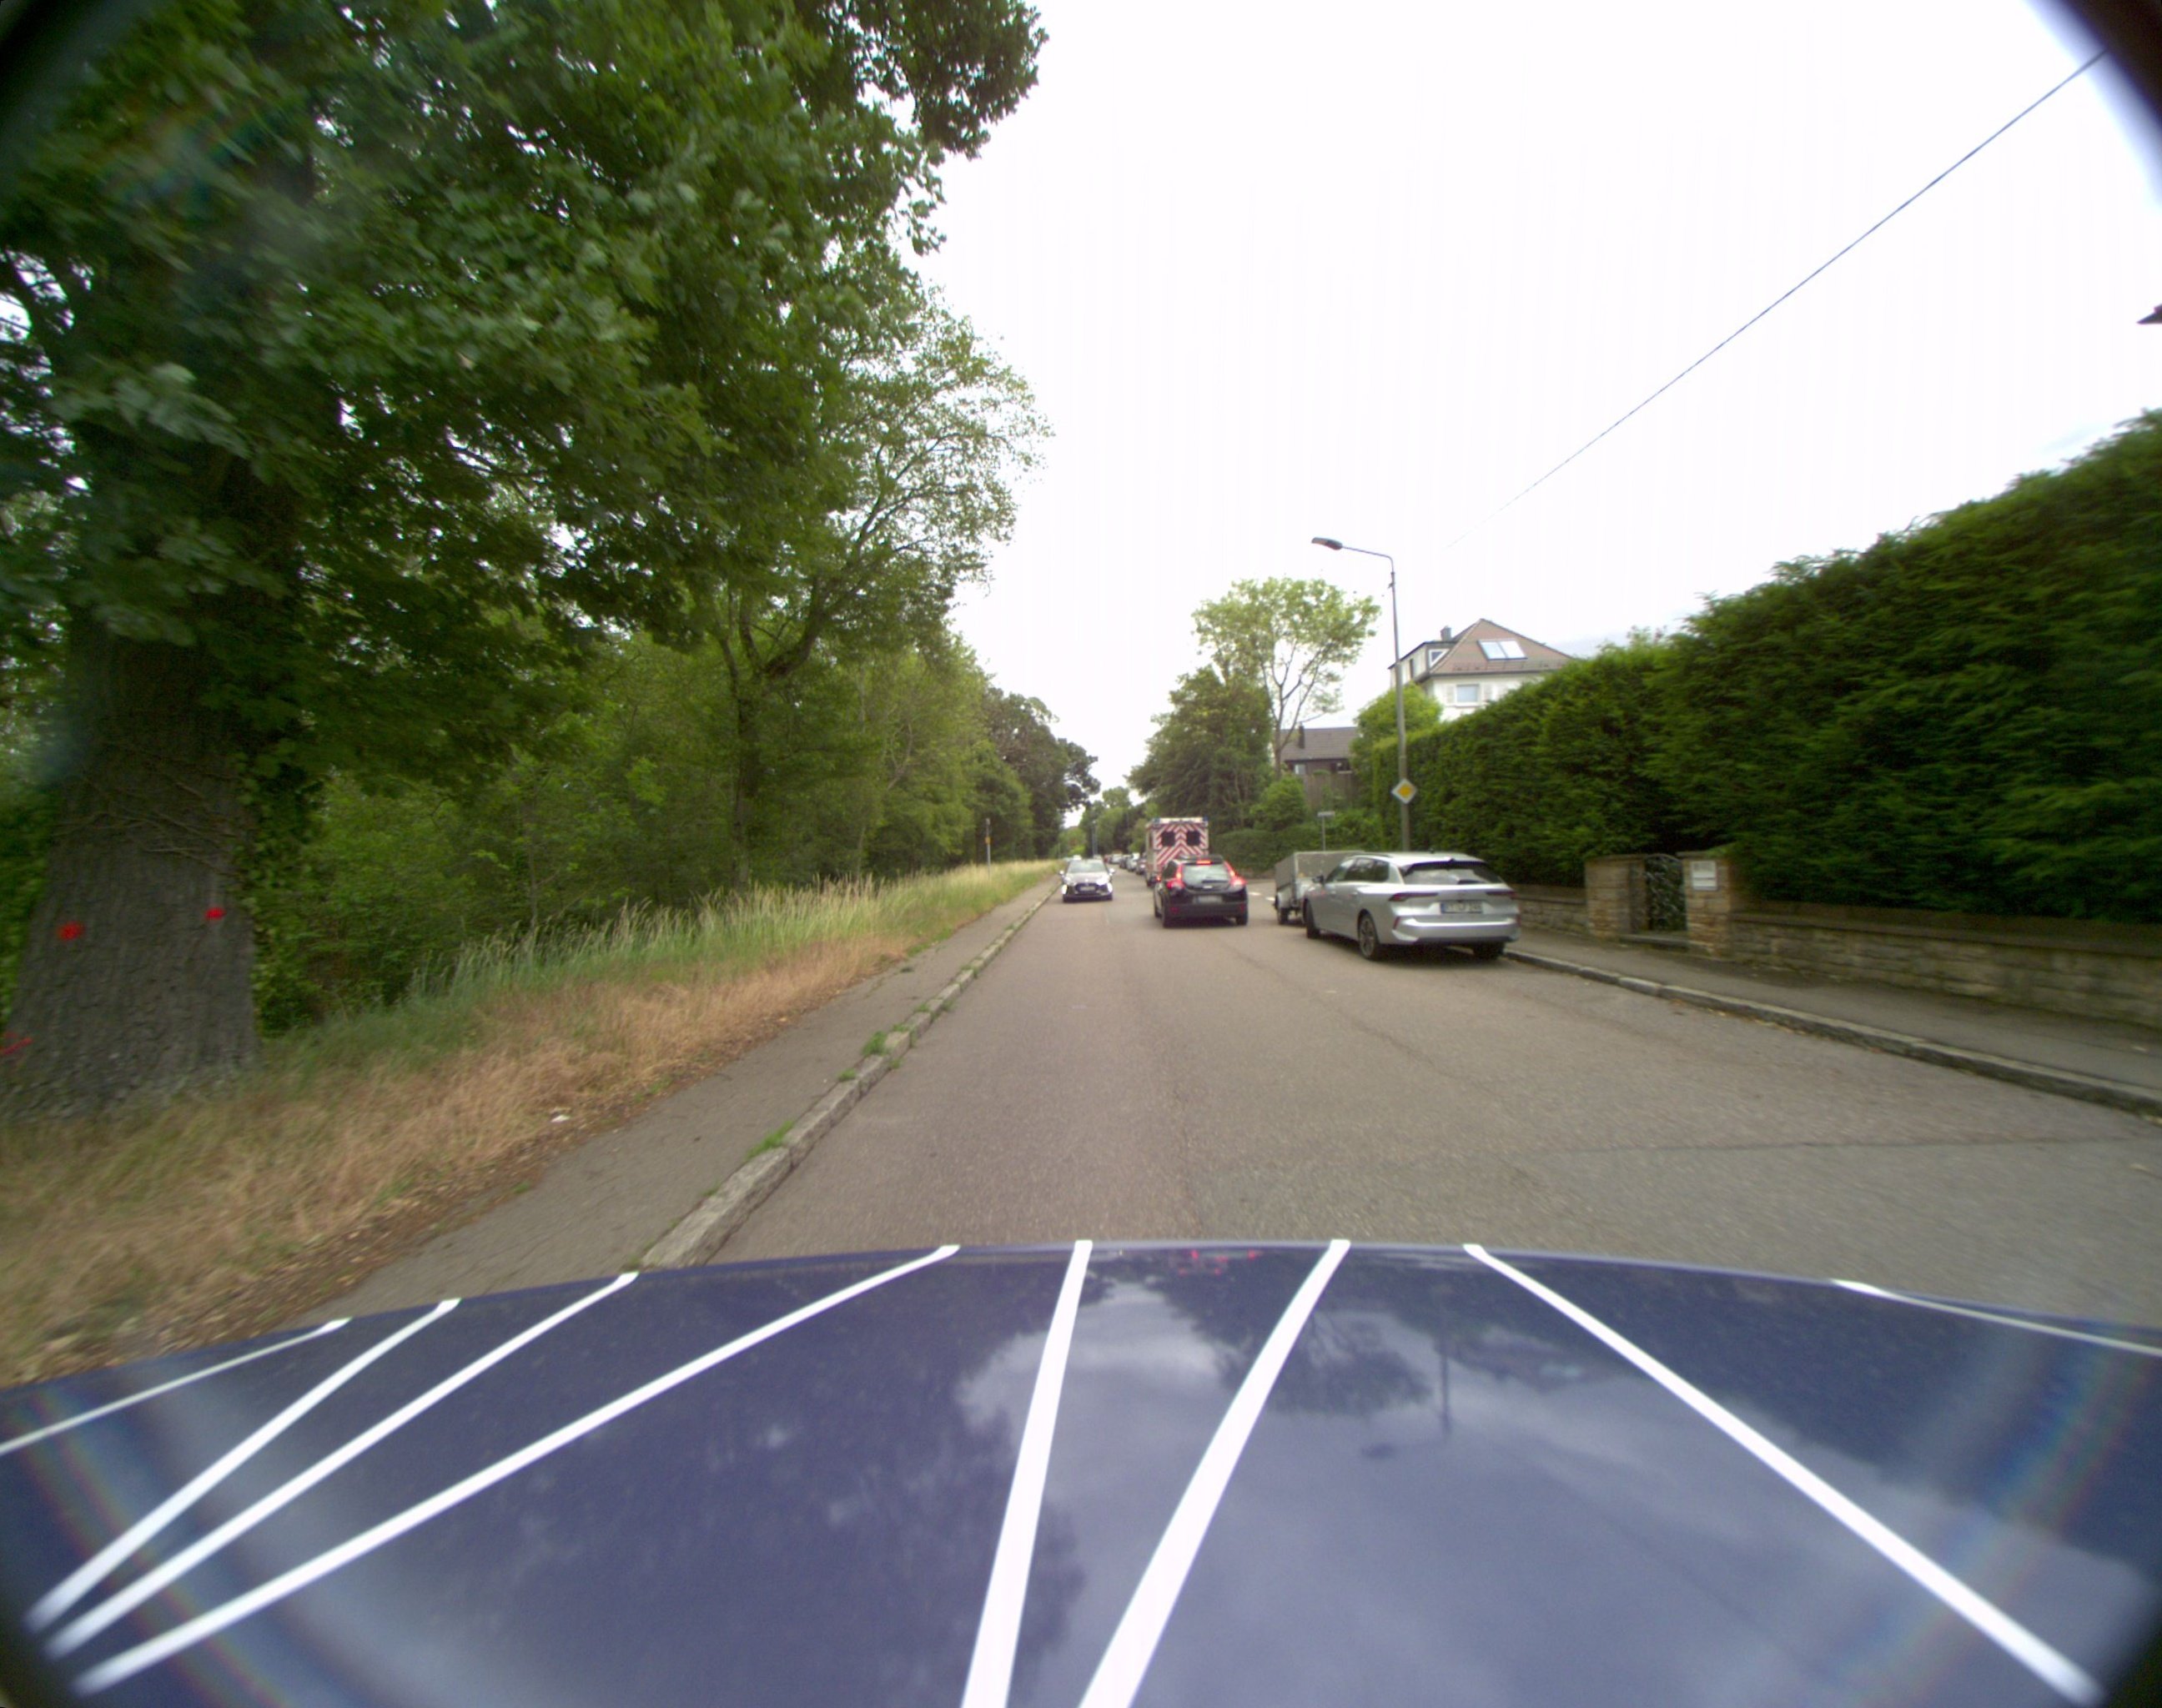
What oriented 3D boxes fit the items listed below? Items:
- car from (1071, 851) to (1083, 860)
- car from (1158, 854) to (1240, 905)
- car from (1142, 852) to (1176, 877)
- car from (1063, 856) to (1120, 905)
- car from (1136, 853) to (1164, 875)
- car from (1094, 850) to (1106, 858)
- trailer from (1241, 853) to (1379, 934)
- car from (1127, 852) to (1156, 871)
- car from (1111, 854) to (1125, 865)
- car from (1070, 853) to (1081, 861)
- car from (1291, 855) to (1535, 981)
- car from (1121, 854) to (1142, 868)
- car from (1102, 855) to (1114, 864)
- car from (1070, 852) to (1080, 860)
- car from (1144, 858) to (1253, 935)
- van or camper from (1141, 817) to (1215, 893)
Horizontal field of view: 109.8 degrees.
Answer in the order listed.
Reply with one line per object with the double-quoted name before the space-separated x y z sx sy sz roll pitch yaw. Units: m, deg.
"car" -0.812 0.374 152.637 1.999 1.678 4.709 -3 0 -3
"car" 3.698 0.760 24.577 1.768 1.438 4.472 -2 0 -2
"car" 4.956 0.659 48.752 1.725 1.496 4.060 -1 0 0
"car" 0.321 0.890 27.136 1.788 1.491 4.014 -4 0 -1
"car" 4.972 0.684 54.999 1.724 1.496 4.008 -1 0 1
"car" 3.811 0.080 153.134 1.765 1.441 4.041 -3 0 -6
"trailer" 4.888 0.761 16.872 1.768 1.487 4.473 -2 0 1
"car" 5.175 0.591 65.573 1.921 1.553 4.603 -1 0 -2
"car" 5.445 0.819 112.783 1.788 1.491 4.014 -3 0 -1
"car" -1.378 0.769 191.444 2.000 1.678 4.707 -3 0 -10
"car" 4.663 0.788 11.491 1.768 1.490 4.473 -1 0 0
"car" 5.209 0.703 78.436 1.739 1.431 4.261 -2 0 -2
"car" 4.697 0.965 133.444 1.741 1.431 3.786 -3 0 -2
"car" -1.322 0.432 169.851 1.998 1.678 4.710 -3 0 0
"car" 2.514 0.854 17.236 1.768 1.438 4.473 -2 0 0
"van or camper" 4.062 0.025 33.125 2.462 2.878 7.168 -2 0 2
